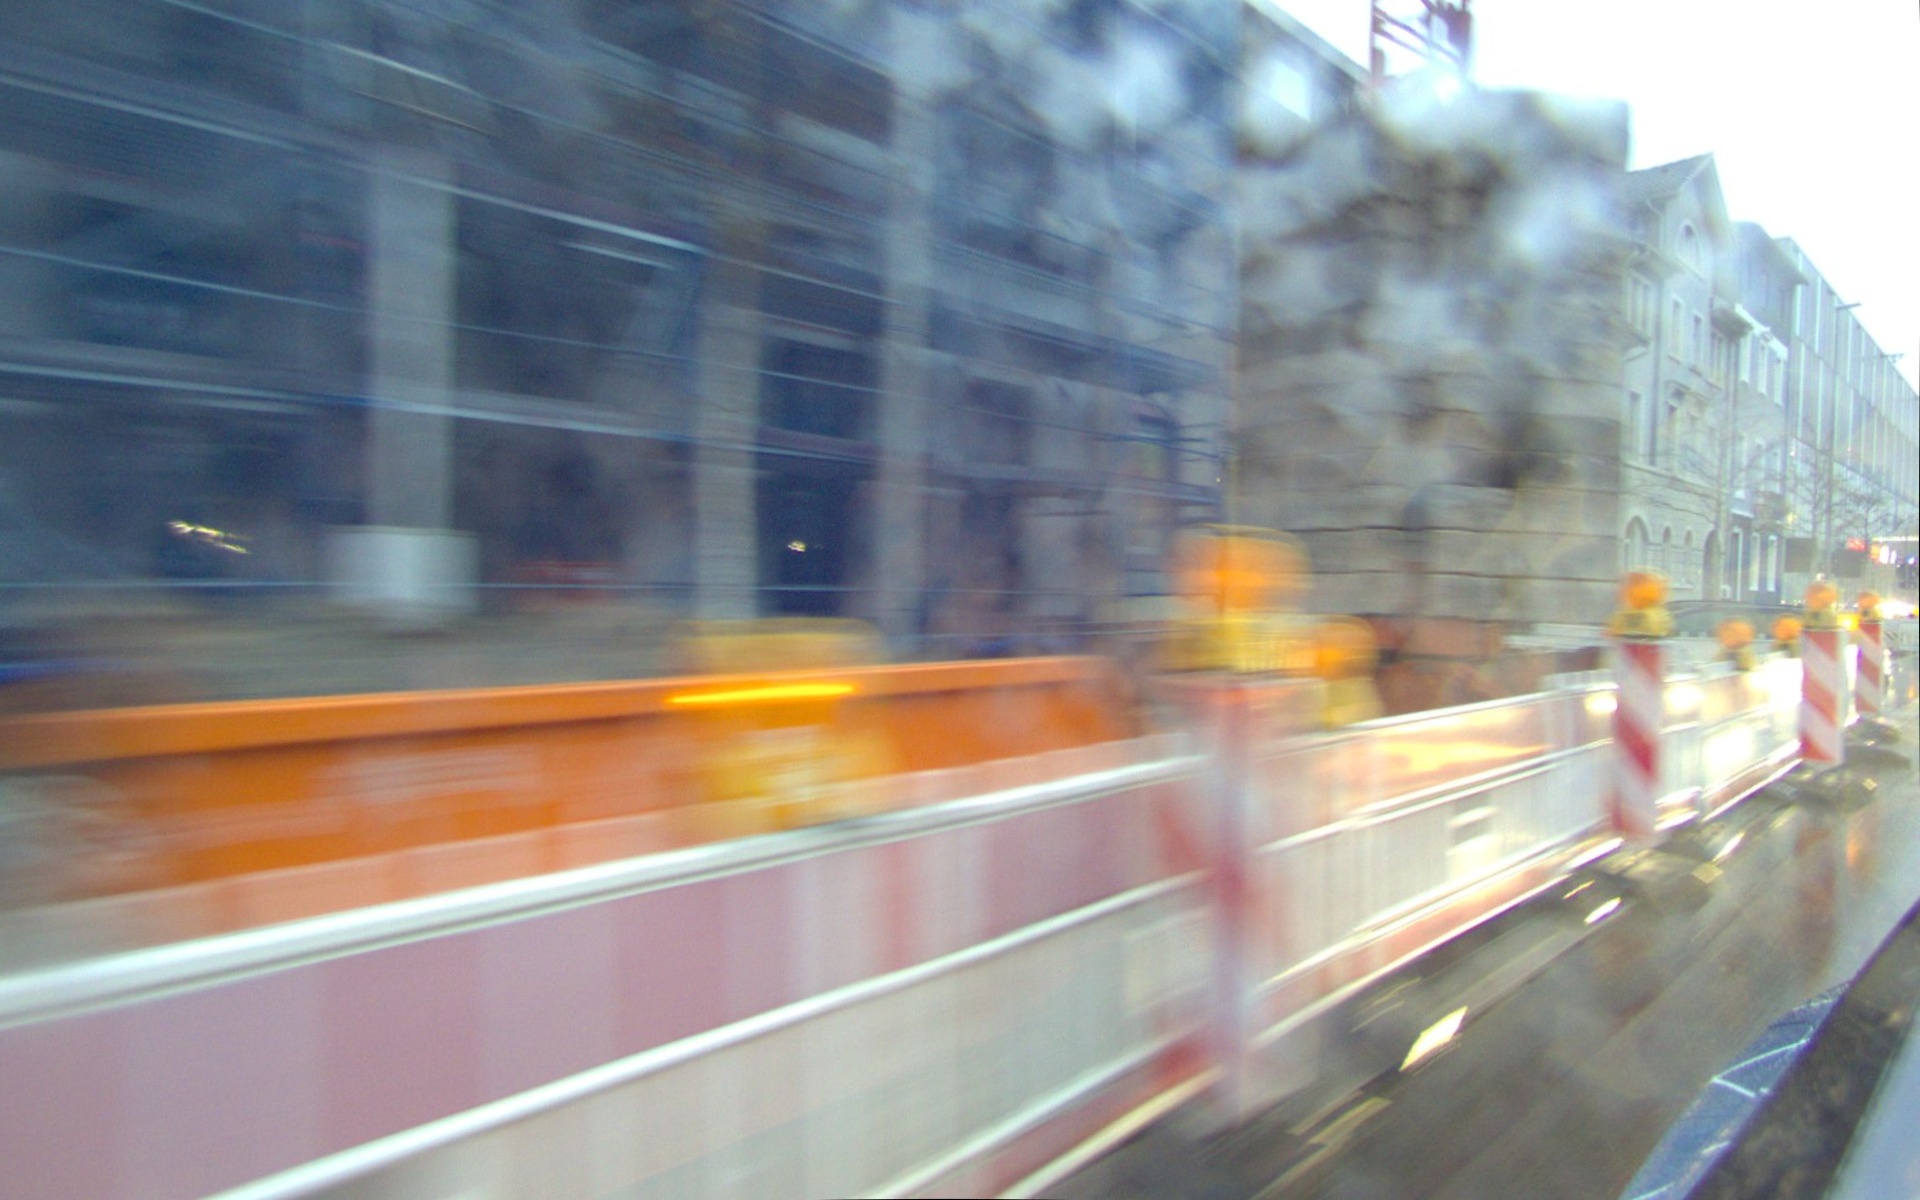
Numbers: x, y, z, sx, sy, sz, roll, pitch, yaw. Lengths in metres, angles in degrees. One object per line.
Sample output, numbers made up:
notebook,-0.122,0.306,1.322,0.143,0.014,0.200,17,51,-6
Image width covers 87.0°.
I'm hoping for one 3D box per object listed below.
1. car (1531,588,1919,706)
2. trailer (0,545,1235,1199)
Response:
car,10.801,0.601,14.626,4.033,1.537,1.900,0,0,14
trailer,-1.317,0.638,3.086,4.763,1.508,1.838,0,1,-41
